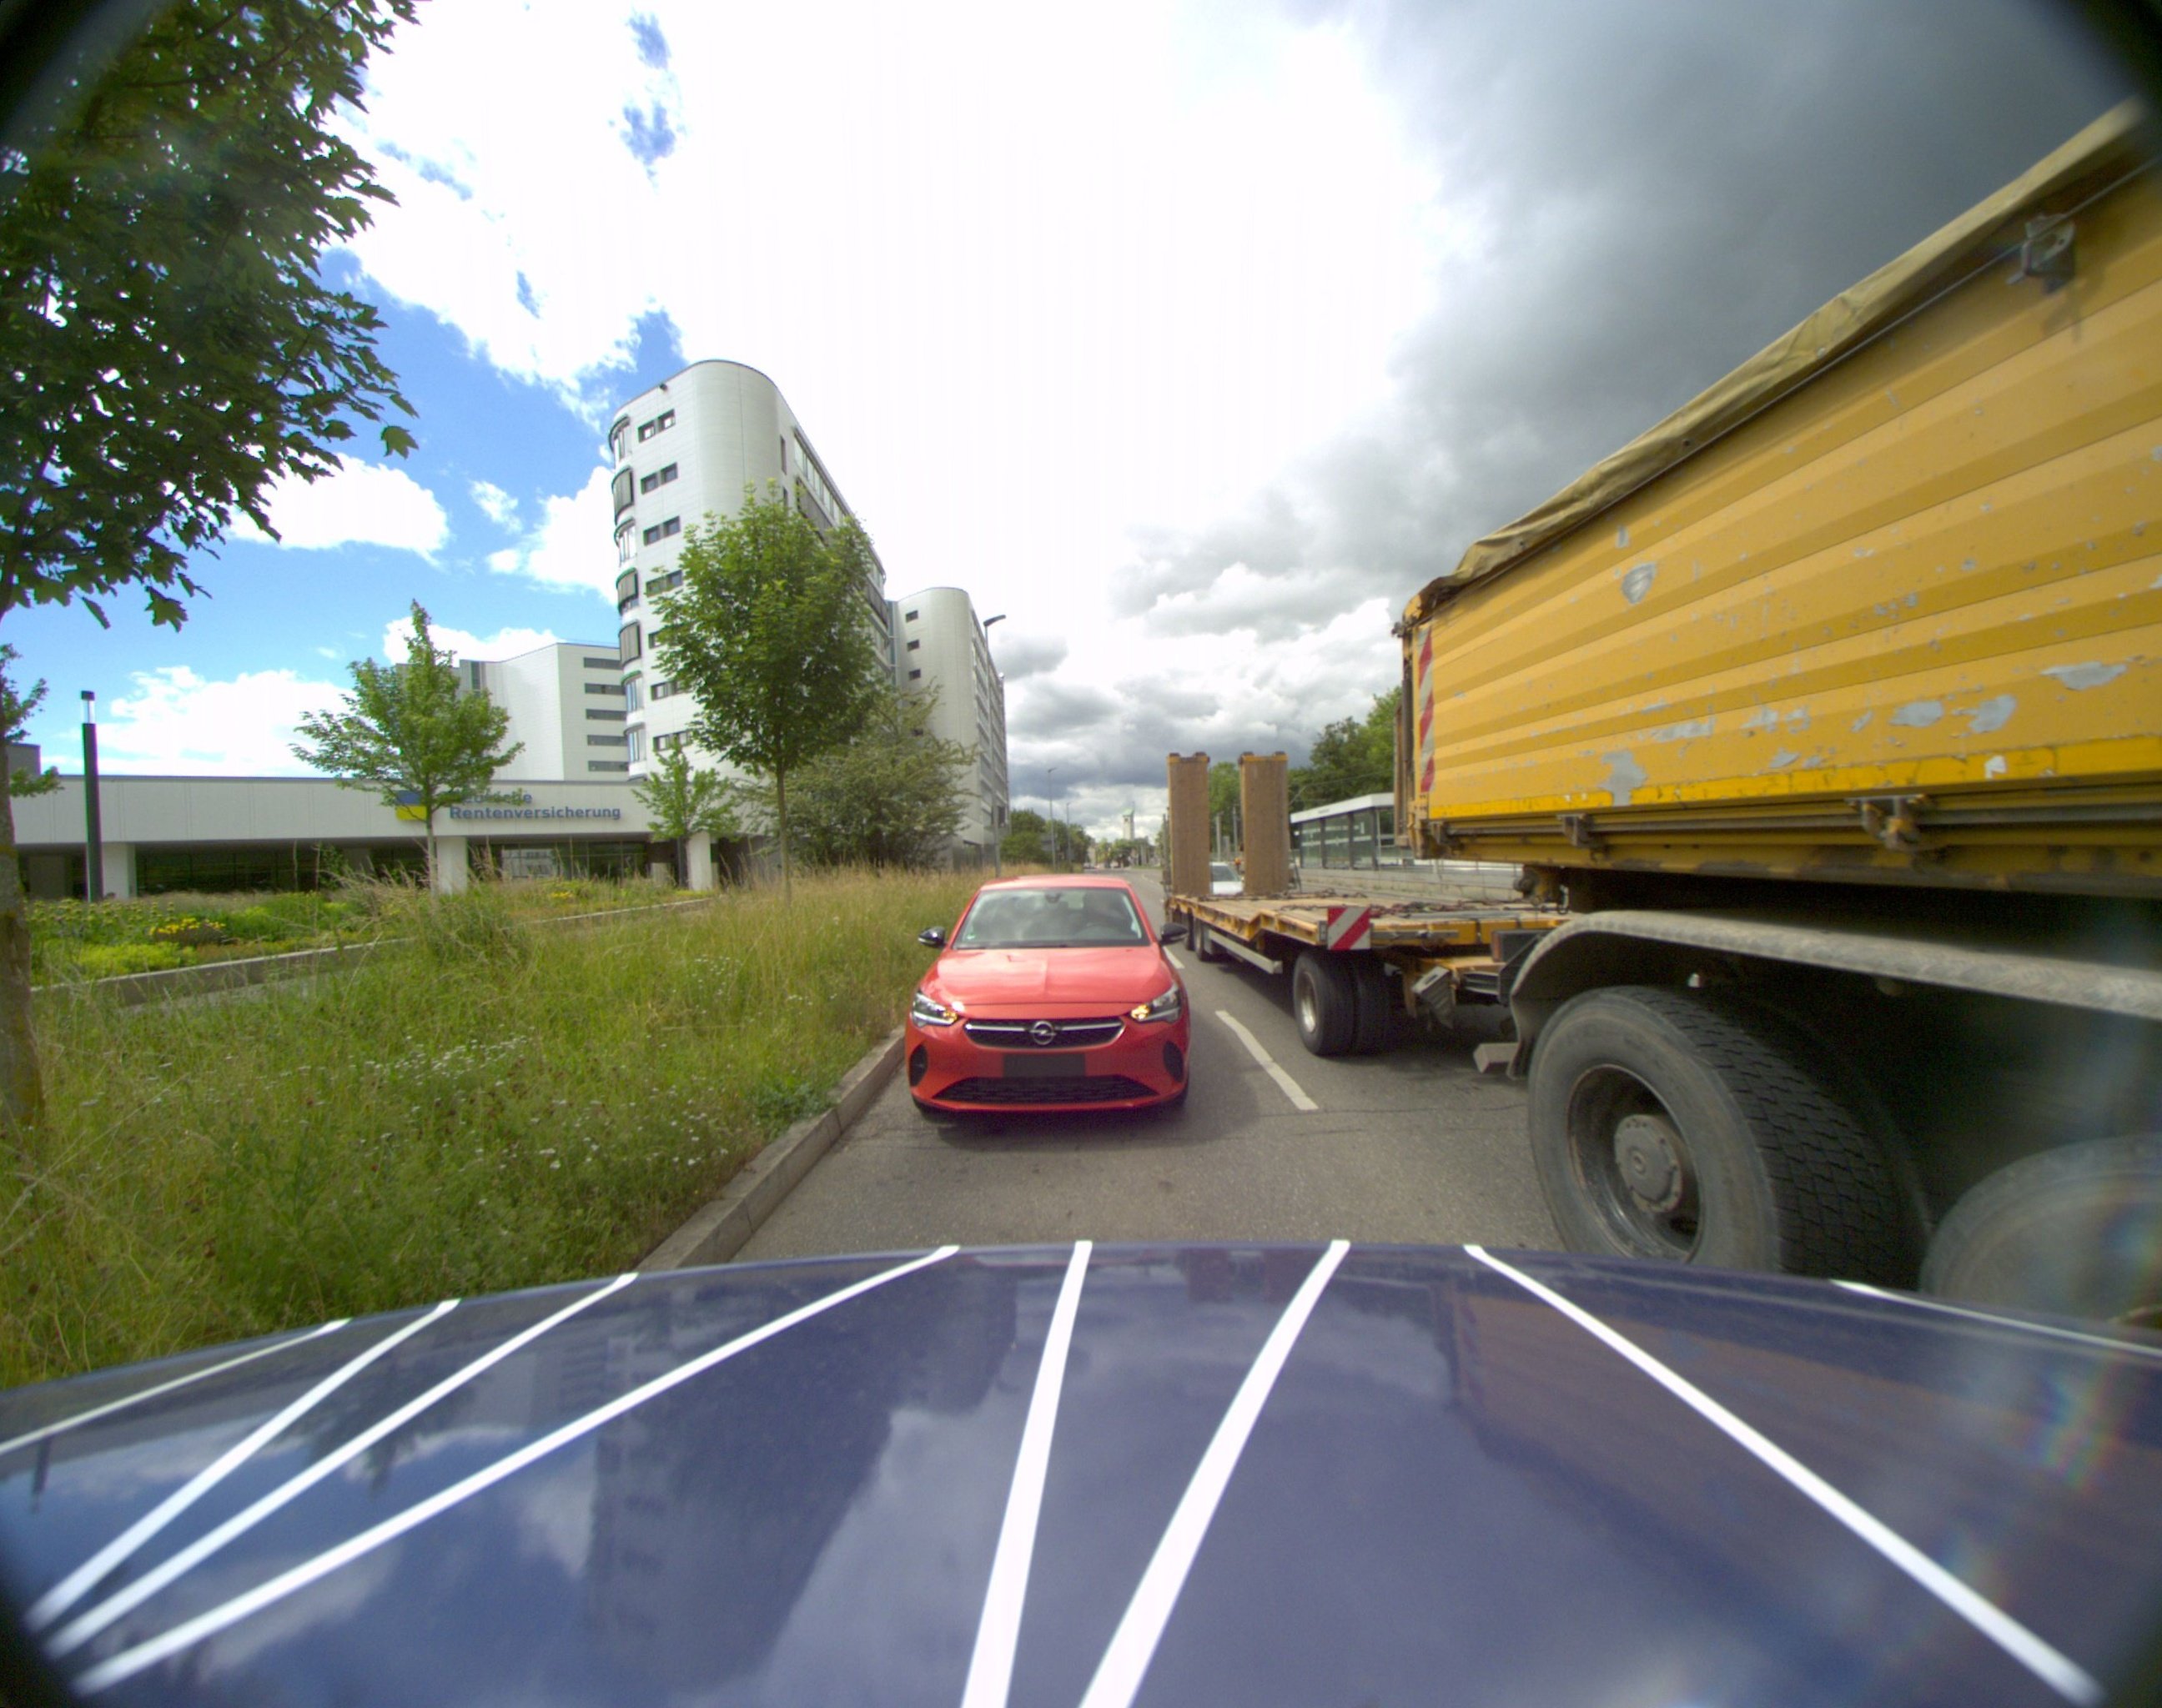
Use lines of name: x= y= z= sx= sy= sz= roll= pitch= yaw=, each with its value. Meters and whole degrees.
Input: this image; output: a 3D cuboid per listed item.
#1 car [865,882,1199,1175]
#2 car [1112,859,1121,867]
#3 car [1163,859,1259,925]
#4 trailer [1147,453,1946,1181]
car: x=-0.230 y=0.994 z=5.859 sx=1.749 sy=1.408 sz=3.676 roll=-1 pitch=0 yaw=1
car: x=8.685 y=2.297 z=186.913 sx=1.998 sy=1.805 sz=4.000 roll=-2 pitch=0 yaw=1
car: x=3.140 y=0.879 z=19.028 sx=1.784 sy=1.408 sz=3.785 roll=-2 pitch=0 yaw=1
trailer: x=2.908 y=-0.169 z=9.430 sx=3.057 sy=3.676 sz=10.965 roll=-2 pitch=0 yaw=0
